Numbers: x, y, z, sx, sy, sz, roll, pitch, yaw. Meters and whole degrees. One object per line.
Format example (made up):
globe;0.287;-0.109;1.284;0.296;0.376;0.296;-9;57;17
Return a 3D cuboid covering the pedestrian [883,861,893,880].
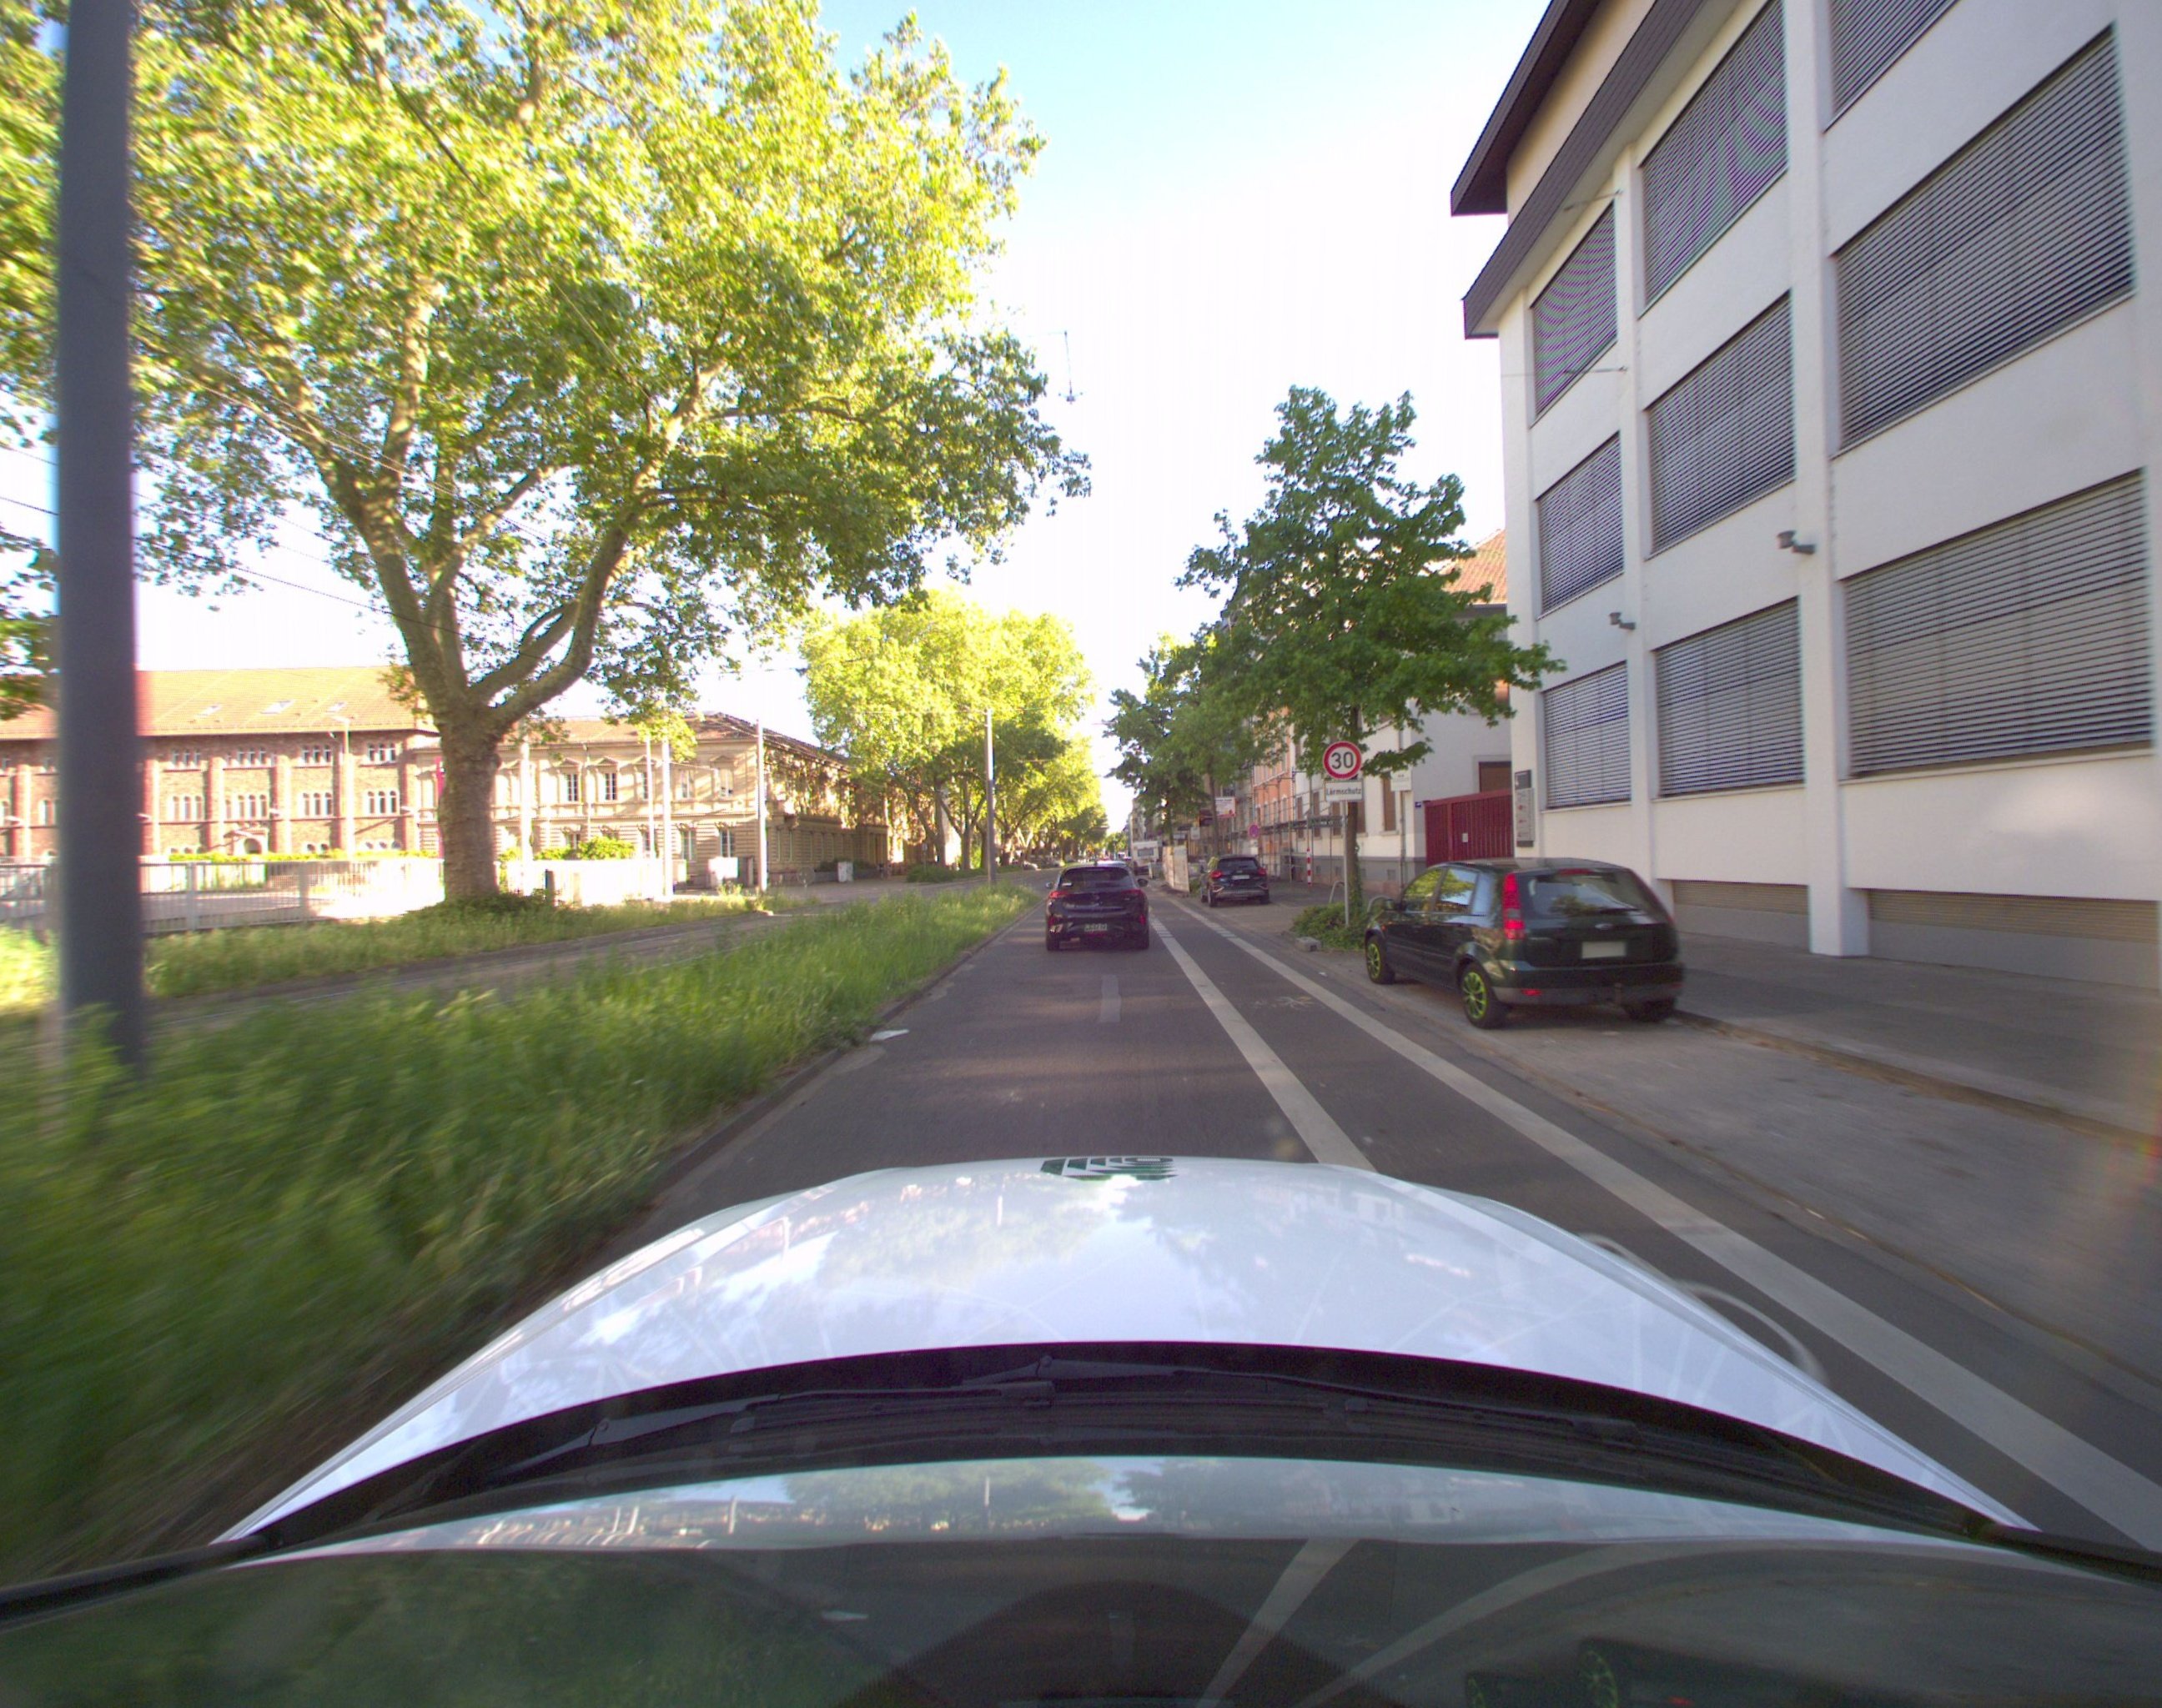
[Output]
pedestrian;-16.874;1.442;71.274;0.656;1.622;0.616;1;0;1

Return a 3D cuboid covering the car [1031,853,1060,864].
car;-7.356;0.908;168.139;5.665;2.198;2.290;-2;0;2

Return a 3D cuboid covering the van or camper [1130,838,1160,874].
van or camper;5.602;0.187;71.777;2.476;2.993;5.439;0;0;3

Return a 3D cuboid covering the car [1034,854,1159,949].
car;0.365;0.744;14.802;1.897;1.425;4.219;-2;0;3

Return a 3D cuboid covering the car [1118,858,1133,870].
car;5.763;1.248;105.304;1.897;1.425;4.219;-1;0;3

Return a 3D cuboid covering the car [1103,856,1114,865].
car;4.742;1.143;140.320;1.897;1.425;4.219;-1;0;3

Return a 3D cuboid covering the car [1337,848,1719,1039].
car;4.129;0.699;8.381;1.680;1.420;4.048;-2;0;0

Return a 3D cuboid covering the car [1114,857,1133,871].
car;4.543;1.063;86.244;1.897;1.425;4.219;-1;0;3

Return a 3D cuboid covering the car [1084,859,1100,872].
car;1.409;1.442;104.684;1.783;1.510;3.876;-3;0;3

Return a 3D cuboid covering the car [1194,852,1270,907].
car;4.618;0.733;25.401;1.783;1.510;3.876;-3;0;3

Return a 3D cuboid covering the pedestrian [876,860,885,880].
pedestrian;-17.512;1.435;71.151;0.616;1.733;0.596;1;0;1

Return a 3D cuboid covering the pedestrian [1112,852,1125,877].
pedestrian;3.133;0.868;67.857;1.032;2.024;1.213;-1;0;1

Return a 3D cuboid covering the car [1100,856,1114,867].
car;3.769;1.090;118.920;1.897;1.425;4.219;-1;0;3
